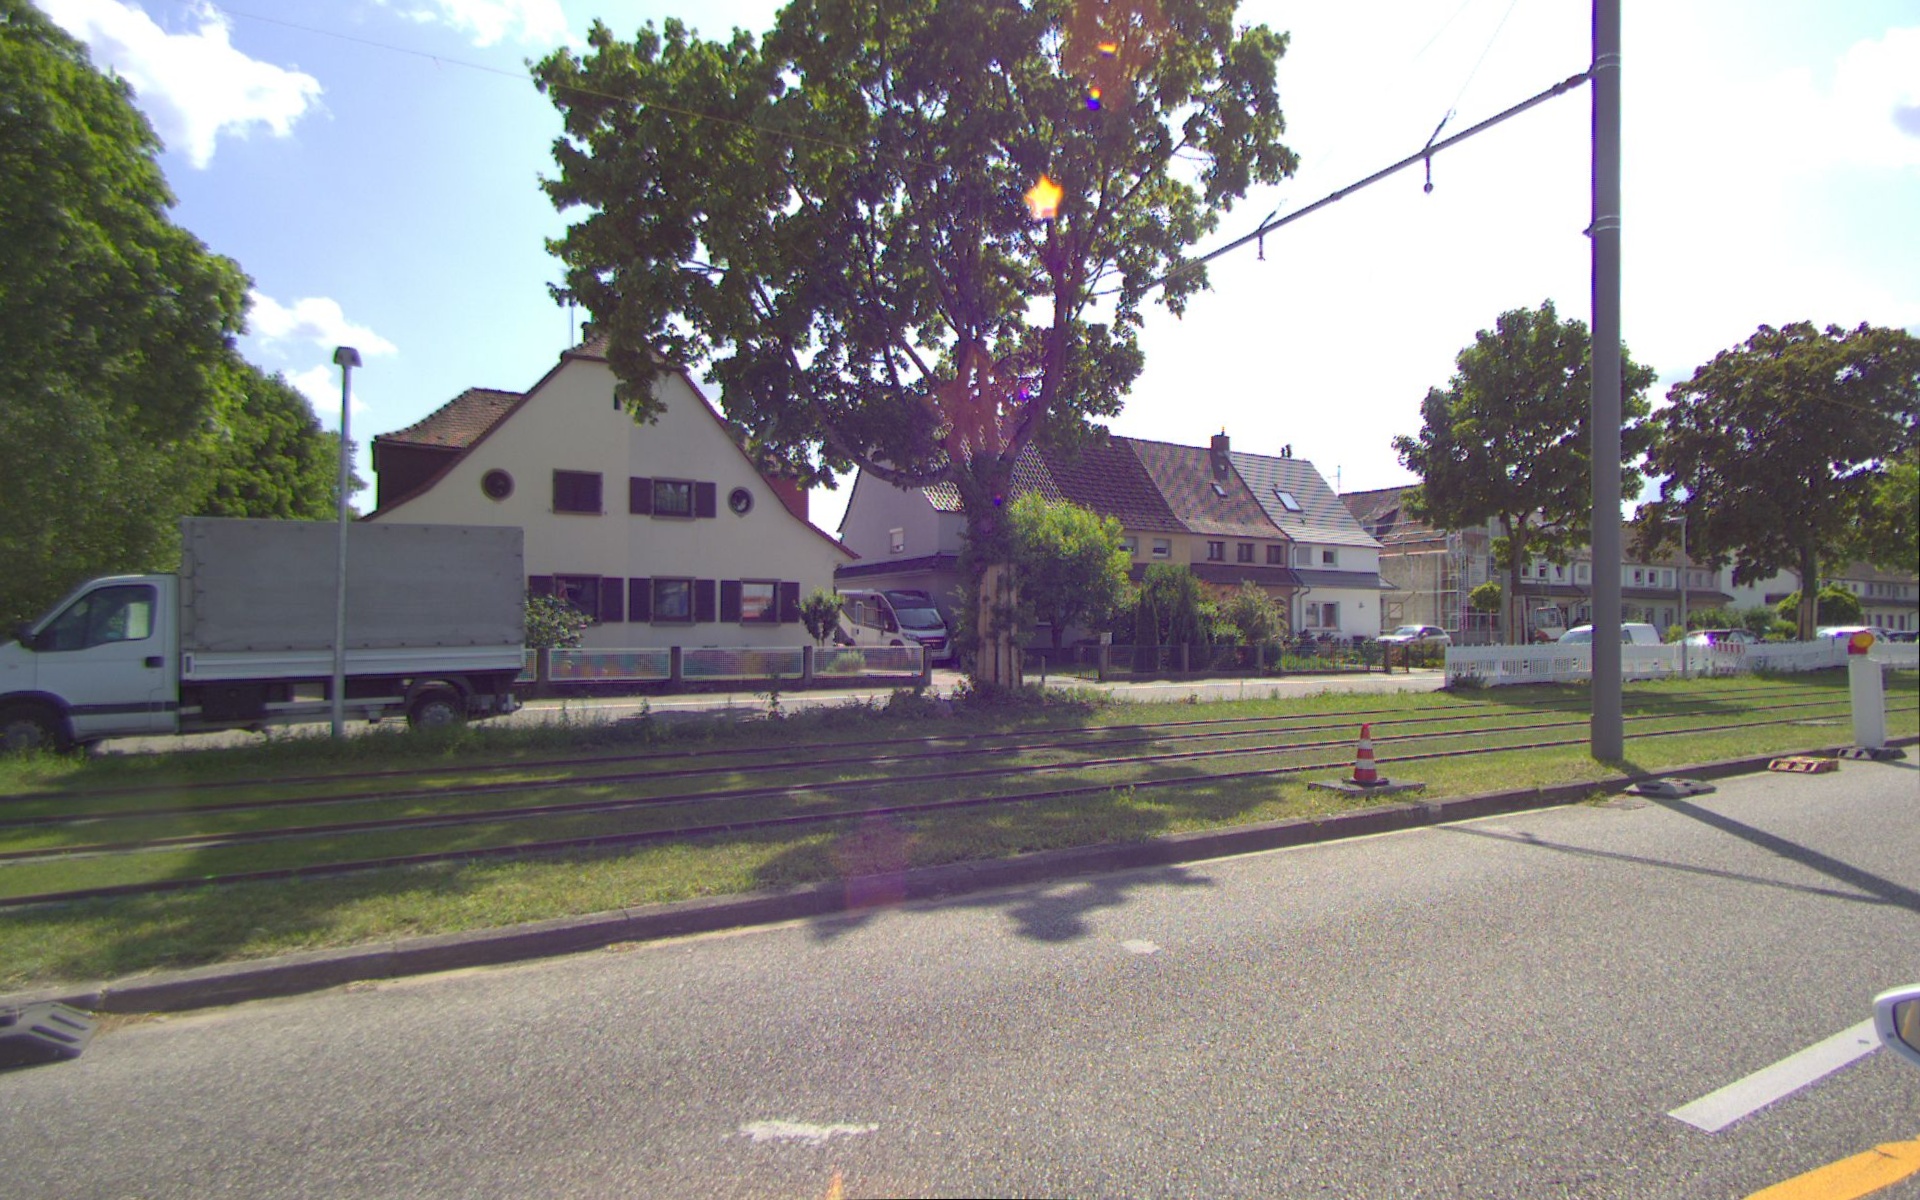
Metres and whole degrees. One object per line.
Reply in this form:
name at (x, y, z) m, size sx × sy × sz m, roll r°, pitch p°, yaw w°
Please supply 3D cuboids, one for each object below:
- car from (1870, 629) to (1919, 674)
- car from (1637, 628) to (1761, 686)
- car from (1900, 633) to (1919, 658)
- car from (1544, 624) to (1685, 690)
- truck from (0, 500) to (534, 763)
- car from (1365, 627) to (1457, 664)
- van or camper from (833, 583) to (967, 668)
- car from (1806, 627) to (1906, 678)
car at (40.649, 2.163, 42.694) m, size 4.079 × 1.829 × 1.768 m, roll 1°, pitch -2°, yaw -30°
car at (24.293, 1.838, 32.999) m, size 4.177 × 1.797 × 1.768 m, roll 1°, pitch -2°, yaw -30°
car at (70.035, 3.302, 72.743) m, size 4.079 × 1.745 × 1.768 m, roll 1°, pitch -2°, yaw -30°
car at (19.578, 1.642, 30.016) m, size 4.312 × 1.845 × 1.768 m, roll 1°, pitch -2°, yaw -30°
truck at (-8.832, 0.403, 12.969) m, size 5.906 × 2.817 × 2.255 m, roll 1°, pitch -2°, yaw -31°
car at (19.993, 1.989, 44.494) m, size 3.952 × 1.539 × 1.768 m, roll 1°, pitch -2°, yaw -30°
van or camper at (-2.299, 0.934, 36.532) m, size 2.269 × 2.801 × 6.051 m, roll 1°, pitch -2°, yaw -32°
car at (35.365, 2.029, 39.638) m, size 4.079 × 1.892 × 1.768 m, roll 1°, pitch -2°, yaw -30°
